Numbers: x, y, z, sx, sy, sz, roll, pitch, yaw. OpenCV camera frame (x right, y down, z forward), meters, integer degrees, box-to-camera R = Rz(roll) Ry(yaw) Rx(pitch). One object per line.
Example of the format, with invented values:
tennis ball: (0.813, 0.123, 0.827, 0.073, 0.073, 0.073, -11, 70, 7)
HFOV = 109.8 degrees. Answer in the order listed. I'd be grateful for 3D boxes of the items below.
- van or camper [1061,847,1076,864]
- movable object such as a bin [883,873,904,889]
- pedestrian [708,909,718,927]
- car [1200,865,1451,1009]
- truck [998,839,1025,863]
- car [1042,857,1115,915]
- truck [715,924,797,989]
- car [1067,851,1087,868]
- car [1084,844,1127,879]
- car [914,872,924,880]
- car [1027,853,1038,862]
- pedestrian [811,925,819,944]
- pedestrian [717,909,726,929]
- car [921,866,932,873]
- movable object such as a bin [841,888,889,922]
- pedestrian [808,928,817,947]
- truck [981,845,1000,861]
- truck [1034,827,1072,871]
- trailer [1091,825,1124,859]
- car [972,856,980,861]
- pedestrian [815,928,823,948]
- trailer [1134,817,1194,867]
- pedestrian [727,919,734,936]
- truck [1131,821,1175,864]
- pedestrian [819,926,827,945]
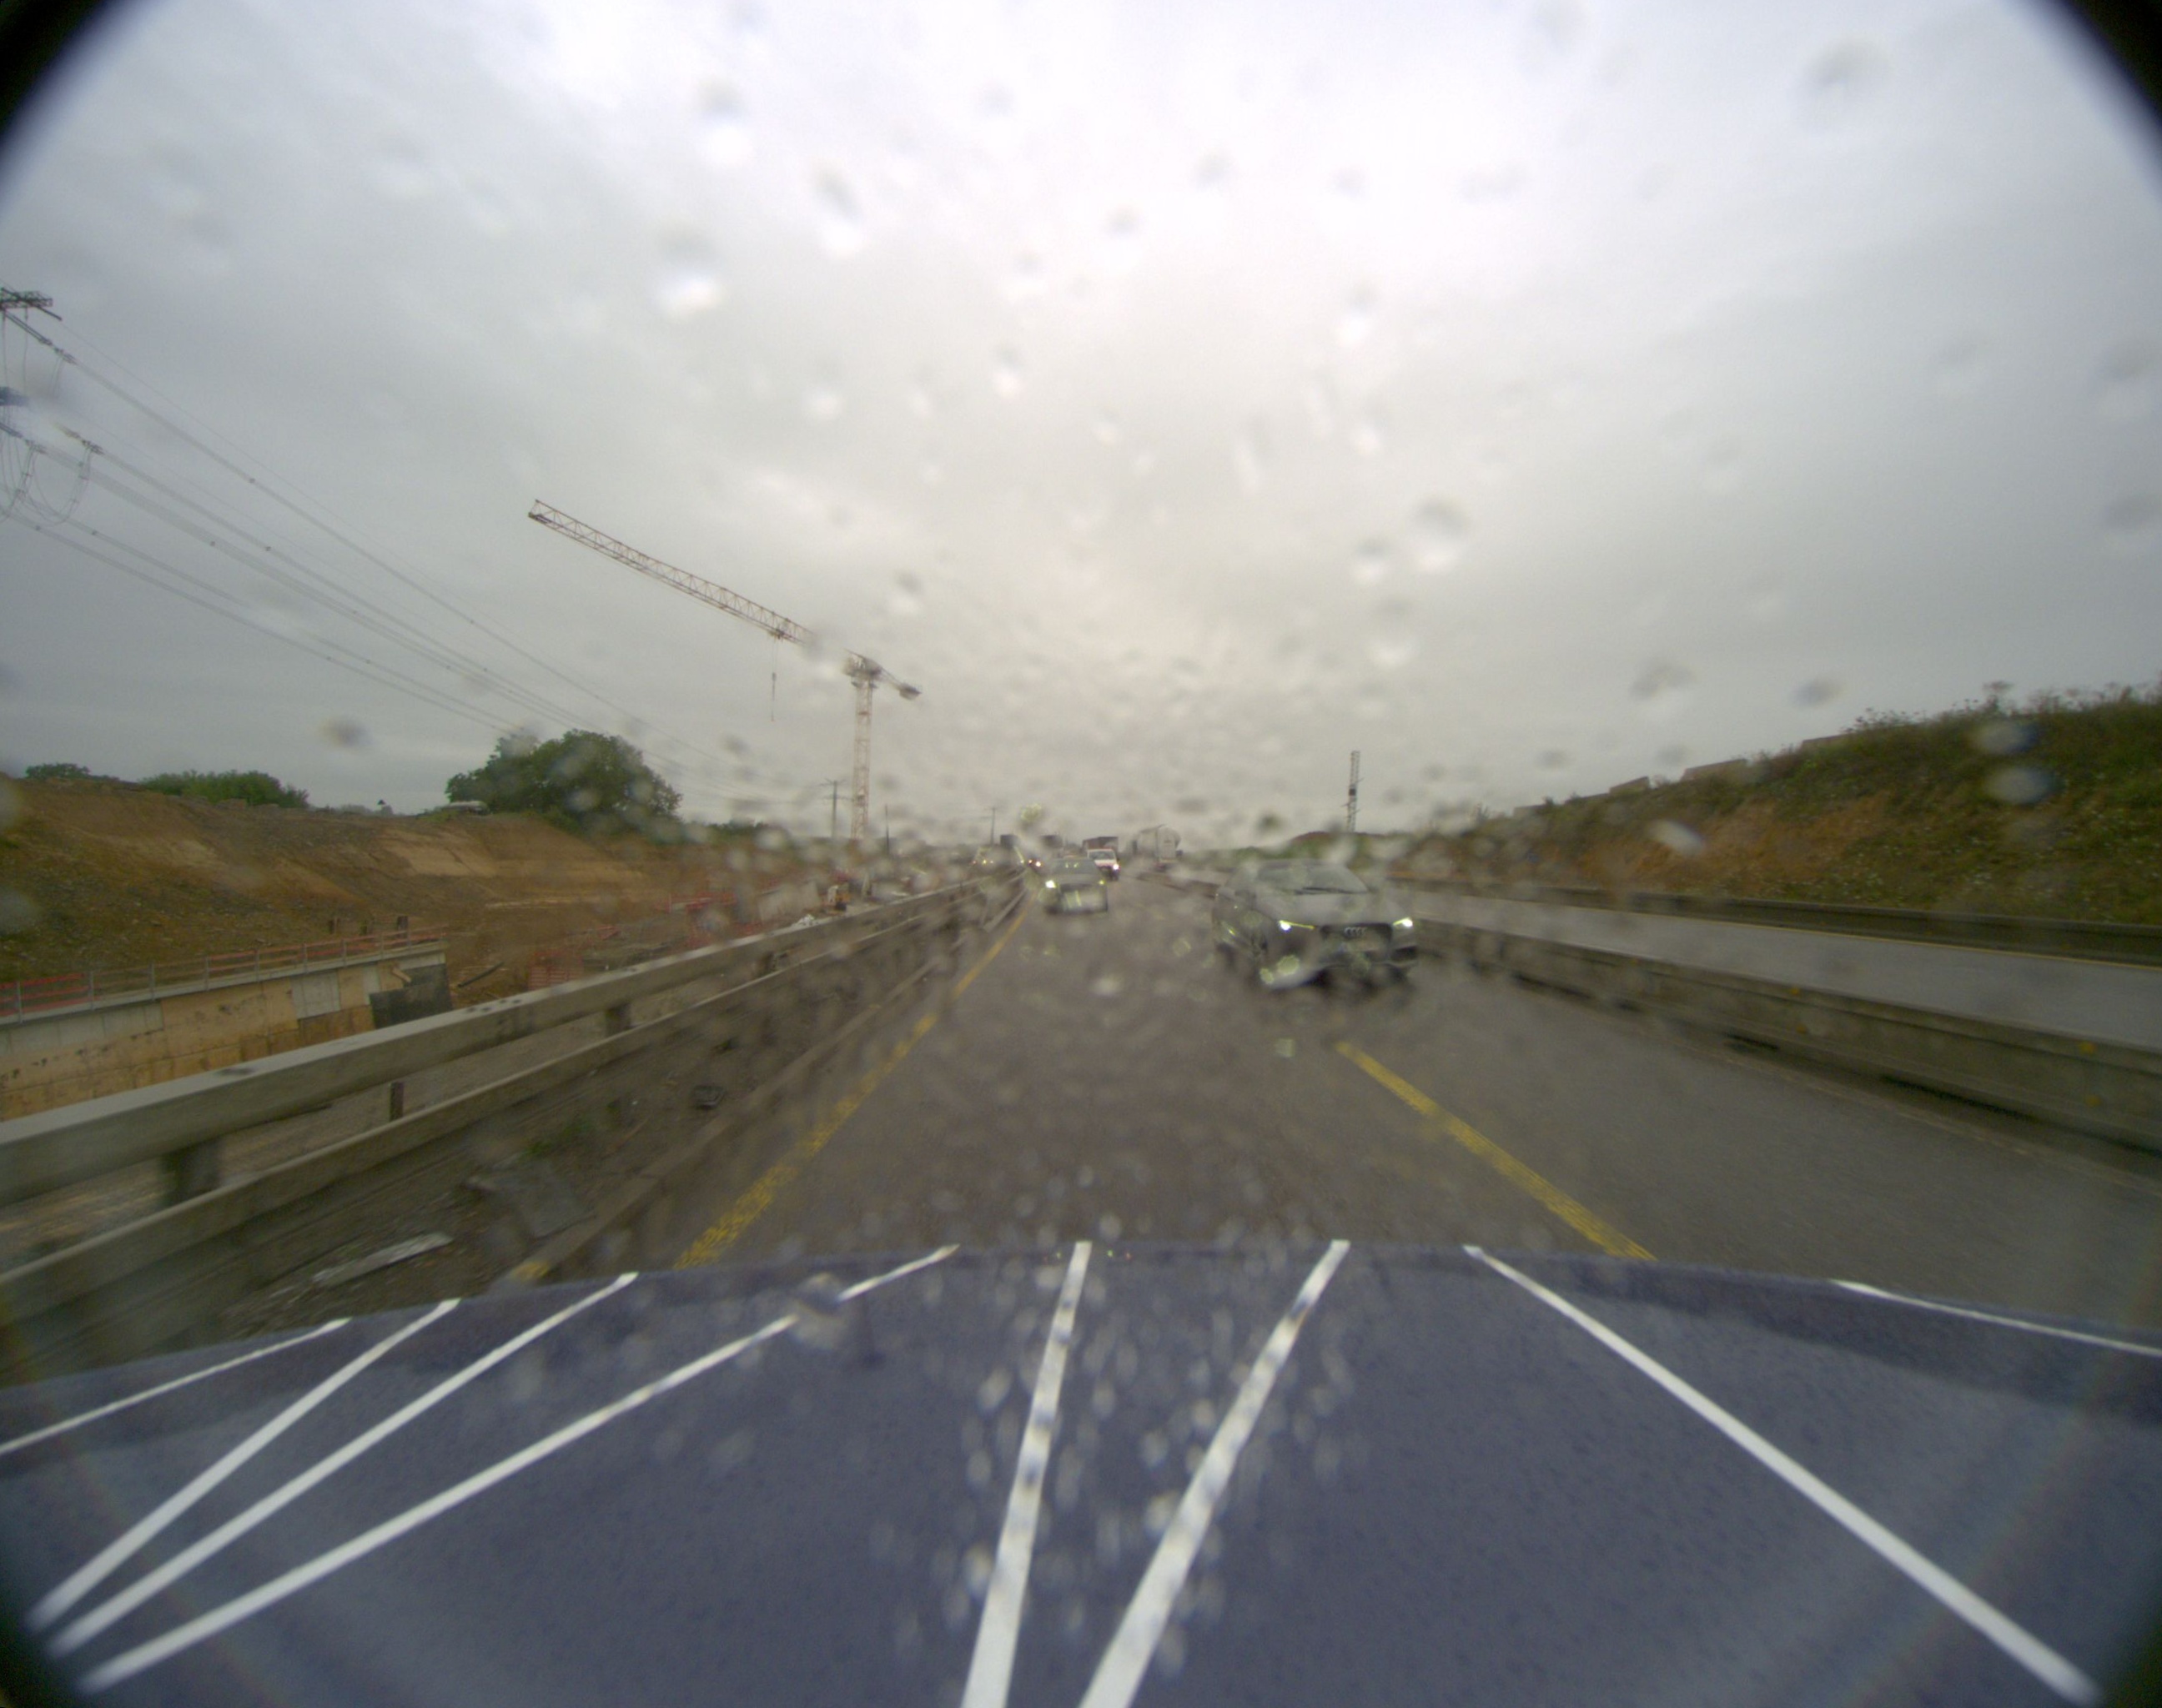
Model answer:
van or camper: (-2.022, 0.250, 120.042, 2.284, 2.599, 5.826, -2, 1, -2)
movable object such as a bin: (-38.612, 5.445, 156.519, 3.503, 2.865, 3.997, 4, 0, -6)
pedestrian: (-38.168, 6.636, 78.801, 0.488, 1.794, 0.583, -5, 2, 35)
car: (2.925, 0.901, 10.103, 1.805, 1.375, 4.086, -1, 1, -3)
truck: (-13.771, -0.540, 148.647, 4.321, 4.319, 13.397, -2, 1, -8)
car: (-0.171, 0.853, 22.398, 1.875, 1.481, 4.259, -1, 0, -4)
truck: (-25.058, 7.794, 59.174, 2.710, 3.591, 9.069, 0, 1, -2)
car: (-0.484, 0.617, 82.871, 1.790, 1.744, 3.997, -2, 1, -6)
car: (1.418, 0.399, 46.220, 2.070, 1.934, 5.154, -1, 1, -3)
car: (-37.278, 5.066, 175.227, 1.860, 1.609, 4.077, 0, 1, -7)
car: (-9.220, 0.693, 144.016, 1.790, 1.646, 3.997, -2, 1, -8)
pedestrian: (-26.669, 8.047, 76.126, 0.603, 1.894, 0.481, 1, 1, -6)
pedestrian: (-38.144, 6.897, 80.607, 0.489, 2.088, 0.481, -6, 2, -6)
car: (-41.423, 4.108, 203.724, 2.352, 1.609, 4.856, 0, 1, -7)
movable object such as a bin: (-26.276, 6.175, 92.906, 3.516, 3.405, 6.652, -1, 2, 3)
pedestrian: (-26.131, 8.119, 73.973, 0.603, 1.759, 0.481, 3, 1, -6)
truck: (-22.762, -0.255, 190.114, 3.549, 3.871, 8.325, -3, 1, -14)
truck: (-2.471, -0.449, 64.414, 2.857, 3.462, 8.639, -1, 1, -4)
trailer: (3.526, -1.554, 105.764, 3.004, 4.395, 15.696, 0, 0, -4)
car: (-27.777, 1.176, 200.778, 1.790, 1.418, 3.997, -2, 1, -6)
pedestrian: (-25.821, 8.222, 74.809, 0.603, 1.894, 0.614, 0, 1, -6)
trailer: (7.129, -1.024, 67.372, 3.265, 3.941, 11.530, -1, 1, -4)
pedestrian: (-37.668, 7.909, 81.630, 0.489, 1.750, 0.481, 1, 1, -6)
truck: (6.792, -1.072, 72.525, 3.240, 3.933, 5.878, -1, 1, -3)
pedestrian: (-25.749, 8.138, 75.806, 0.603, 1.894, 0.481, 1, 1, -6)
